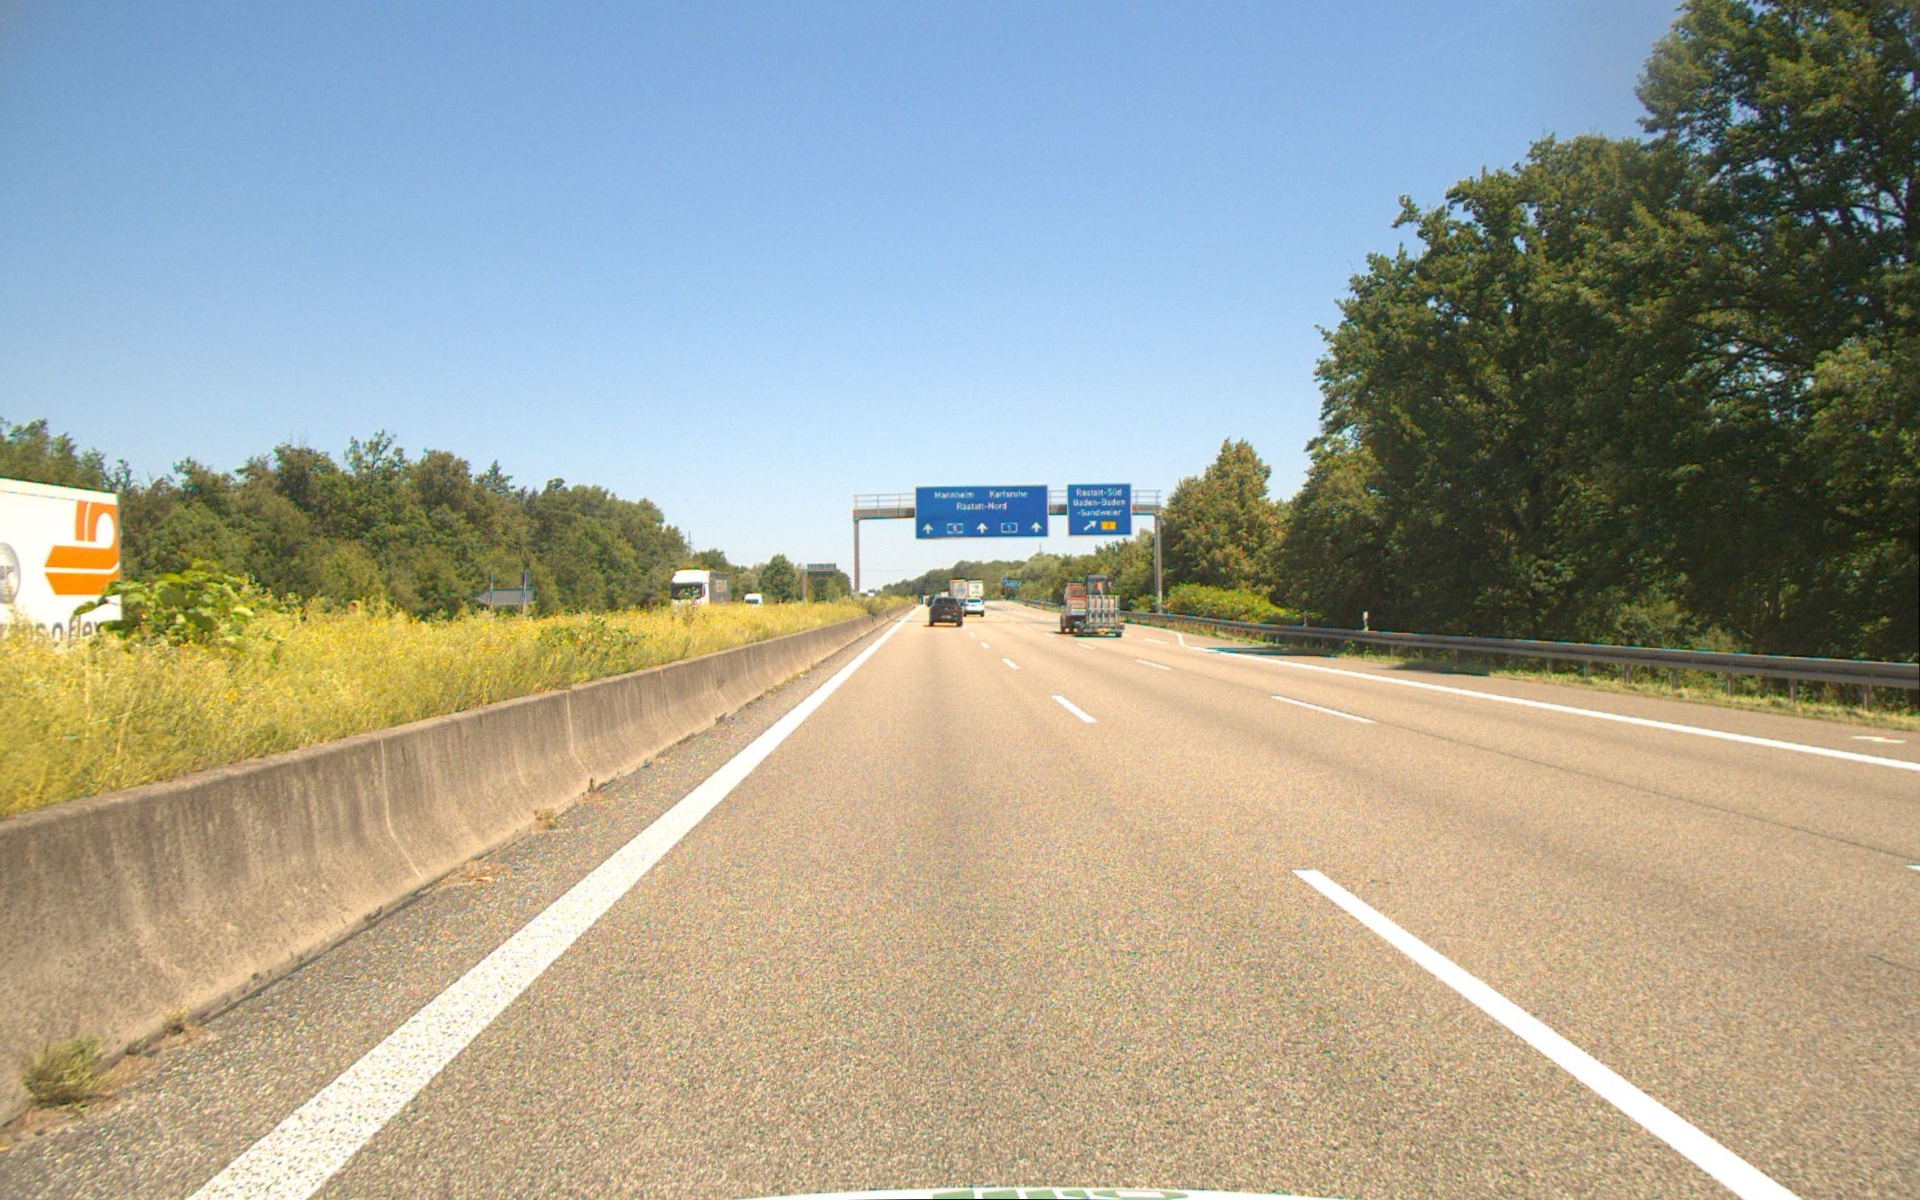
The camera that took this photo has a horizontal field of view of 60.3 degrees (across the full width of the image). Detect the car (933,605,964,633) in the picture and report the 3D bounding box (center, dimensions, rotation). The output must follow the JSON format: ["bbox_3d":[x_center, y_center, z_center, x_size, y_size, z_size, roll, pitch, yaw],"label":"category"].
[{"bbox_3d":[-0.691,1.099,97.271,1.627,1.576,3.781,1,-1,-3],"label":"car"}]

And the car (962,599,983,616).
[{"bbox_3d":[1.120,0.665,146.208,1.705,1.512,3.998,0,0,-2],"label":"car"}]

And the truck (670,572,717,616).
[{"bbox_3d":[-19.448,-0.439,120.960,2.589,3.138,5.846,0,0,-1],"label":"truck"}]

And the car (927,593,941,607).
[{"bbox_3d":[-3.978,-0.034,251.666,1.953,2.049,3.998,-2,-1,-2],"label":"car"}]

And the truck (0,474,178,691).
[{"bbox_3d":[-11.704,-0.172,19.590,2.264,2.367,6.075,0,-1,-3],"label":"truck"}]

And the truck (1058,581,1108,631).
[{"bbox_3d":[6.079,0.284,82.049,1.953,2.415,4.642,0,0,-2],"label":"truck"}]

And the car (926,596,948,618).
[{"bbox_3d":[-2.205,0.657,157.723,1.953,2.049,3.998,-1,0,-2],"label":"car"}]

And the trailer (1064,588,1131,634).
[{"bbox_3d":[6.336,0.491,76.702,2.372,2.049,6.030,0,0,-2],"label":"trailer"}]
